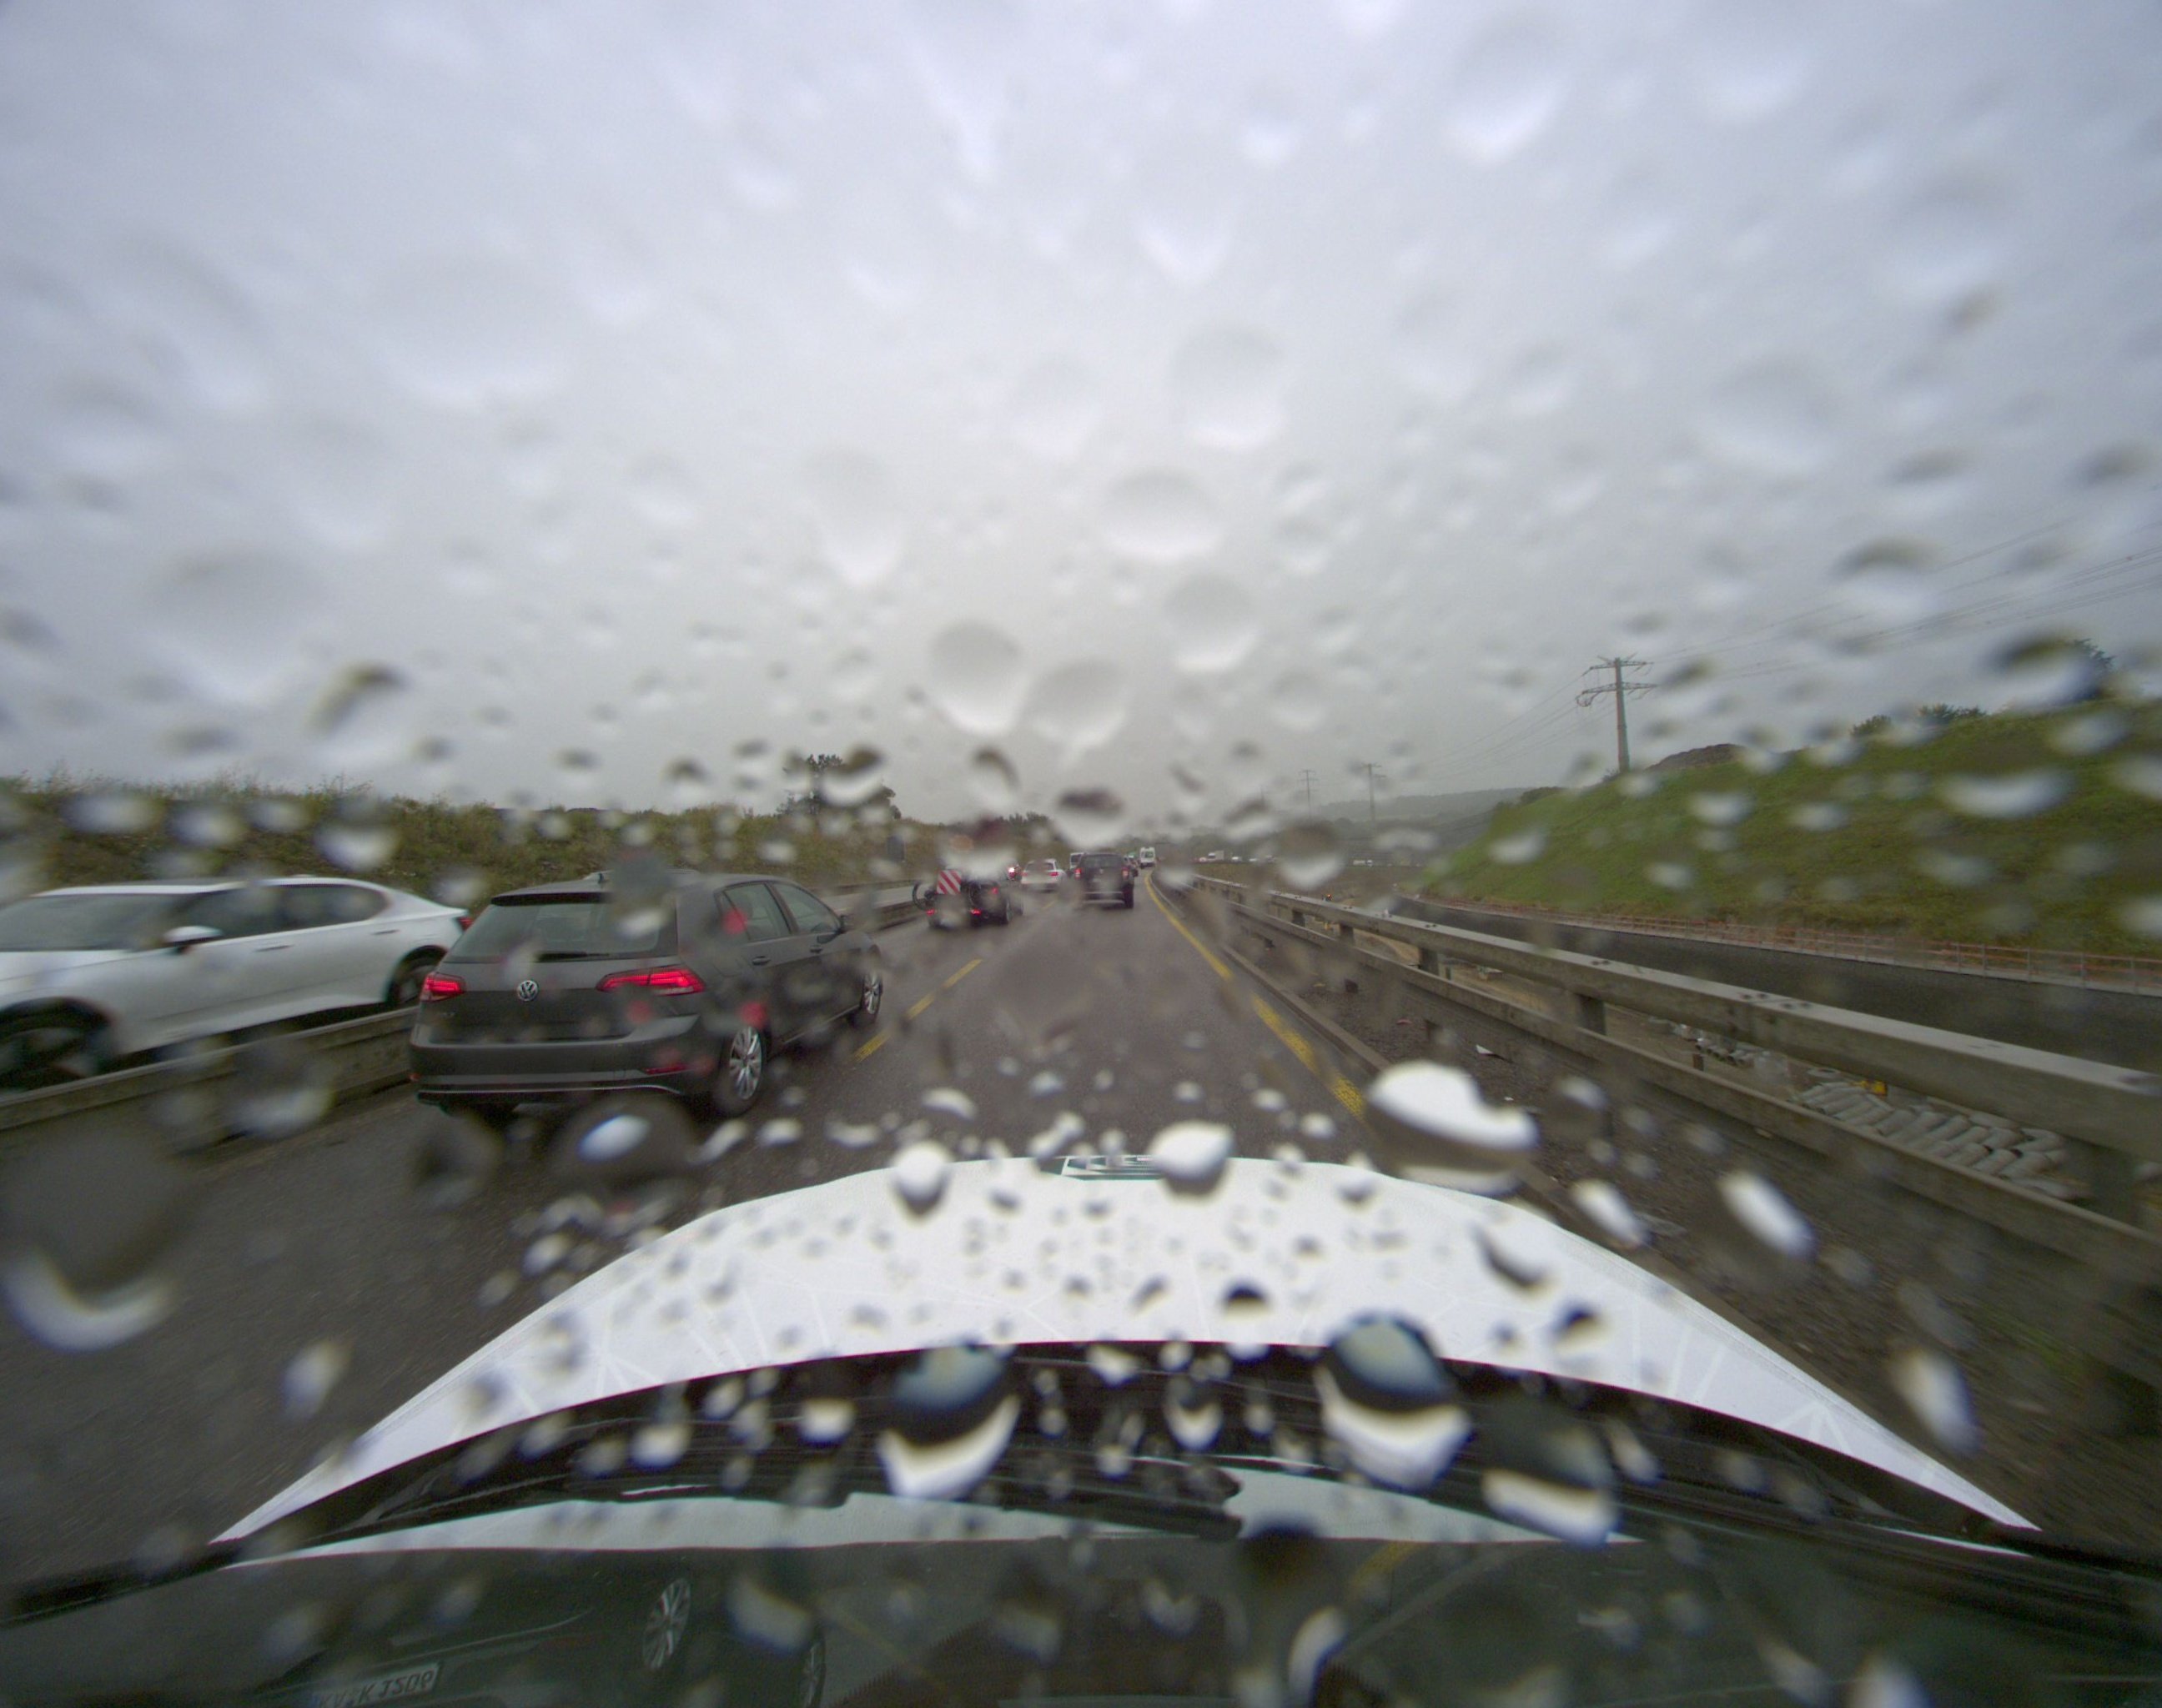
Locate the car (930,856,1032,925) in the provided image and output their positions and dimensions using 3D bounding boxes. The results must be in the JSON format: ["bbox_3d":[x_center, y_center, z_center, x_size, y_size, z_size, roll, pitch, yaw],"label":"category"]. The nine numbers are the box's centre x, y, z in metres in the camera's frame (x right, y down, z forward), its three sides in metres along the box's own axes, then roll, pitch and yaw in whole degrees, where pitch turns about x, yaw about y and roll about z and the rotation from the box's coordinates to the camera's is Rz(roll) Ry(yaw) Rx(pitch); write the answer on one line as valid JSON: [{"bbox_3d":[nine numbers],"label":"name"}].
[{"bbox_3d":[-2.282,0.812,19.568,1.822,1.476,3.778,-1,-1,2],"label":"car"}]

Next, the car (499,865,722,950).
[{"bbox_3d":[-9.453,0.985,16.903,1.761,1.443,4.673,-1,0,2],"label":"car"}]

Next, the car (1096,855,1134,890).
[{"bbox_3d":[1.742,0.895,41.295,1.860,1.708,4.003,0,0,3],"label":"car"}]

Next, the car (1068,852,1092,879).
[{"bbox_3d":[-0.044,0.830,59.931,1.654,1.880,4.020,0,0,1],"label":"car"}]

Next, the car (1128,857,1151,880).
[{"bbox_3d":[4.430,1.084,62.157,1.525,1.640,4.014,0,0,1],"label":"car"}]

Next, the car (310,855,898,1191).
[{"bbox_3d":[-2.738,0.807,6.009,1.608,1.506,4.370,-3,0,2],"label":"car"}]

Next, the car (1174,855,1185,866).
[{"bbox_3d":[18.016,1.196,148.705,1.763,1.916,4.012,0,0,11],"label":"car"}]

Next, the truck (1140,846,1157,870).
[{"bbox_3d":[8.959,0.553,107.955,2.140,3.166,6.465,0,0,4],"label":"truck"}]

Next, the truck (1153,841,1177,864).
[{"bbox_3d":[14.025,-0.192,135.497,3.180,3.761,8.534,0,0,11],"label":"truck"}]

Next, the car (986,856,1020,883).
[{"bbox_3d":[-4.751,0.915,50.166,1.721,1.577,3.720,-1,-1,0],"label":"car"}]

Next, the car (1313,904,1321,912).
[{"bbox_3d":[72.731,16.679,250.827,1.978,2.013,4.020,7,2,21],"label":"car"}]

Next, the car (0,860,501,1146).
[{"bbox_3d":[-6.995,0.864,6.250,1.870,1.500,4.337,0,1,1],"label":"car"}]

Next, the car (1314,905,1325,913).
[{"bbox_3d":[56.415,13.043,192.782,1.981,1.816,4.011,-1,-1,10],"label":"car"}]

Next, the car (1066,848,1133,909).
[{"bbox_3d":[0.615,0.682,24.154,1.797,1.646,3.779,-1,-1,3],"label":"car"}]

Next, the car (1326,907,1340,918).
[{"bbox_3d":[54.406,12.593,175.744,2.352,2.014,4.009,0,0,8],"label":"car"}]

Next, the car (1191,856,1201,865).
[{"bbox_3d":[23.987,1.293,169.518,1.763,1.916,4.012,0,0,11],"label":"car"}]

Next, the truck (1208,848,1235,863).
[{"bbox_3d":[40.632,0.520,234.803,4.677,4.150,15.762,0,0,21],"label":"truck"}]

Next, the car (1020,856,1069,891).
[{"bbox_3d":[-1.601,0.841,36.988,1.860,1.460,4.551,0,0,2],"label":"car"}]

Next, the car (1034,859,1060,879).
[{"bbox_3d":[-2.875,1.272,69.702,2.039,1.633,4.987,-1,-1,-1],"label":"car"}]
